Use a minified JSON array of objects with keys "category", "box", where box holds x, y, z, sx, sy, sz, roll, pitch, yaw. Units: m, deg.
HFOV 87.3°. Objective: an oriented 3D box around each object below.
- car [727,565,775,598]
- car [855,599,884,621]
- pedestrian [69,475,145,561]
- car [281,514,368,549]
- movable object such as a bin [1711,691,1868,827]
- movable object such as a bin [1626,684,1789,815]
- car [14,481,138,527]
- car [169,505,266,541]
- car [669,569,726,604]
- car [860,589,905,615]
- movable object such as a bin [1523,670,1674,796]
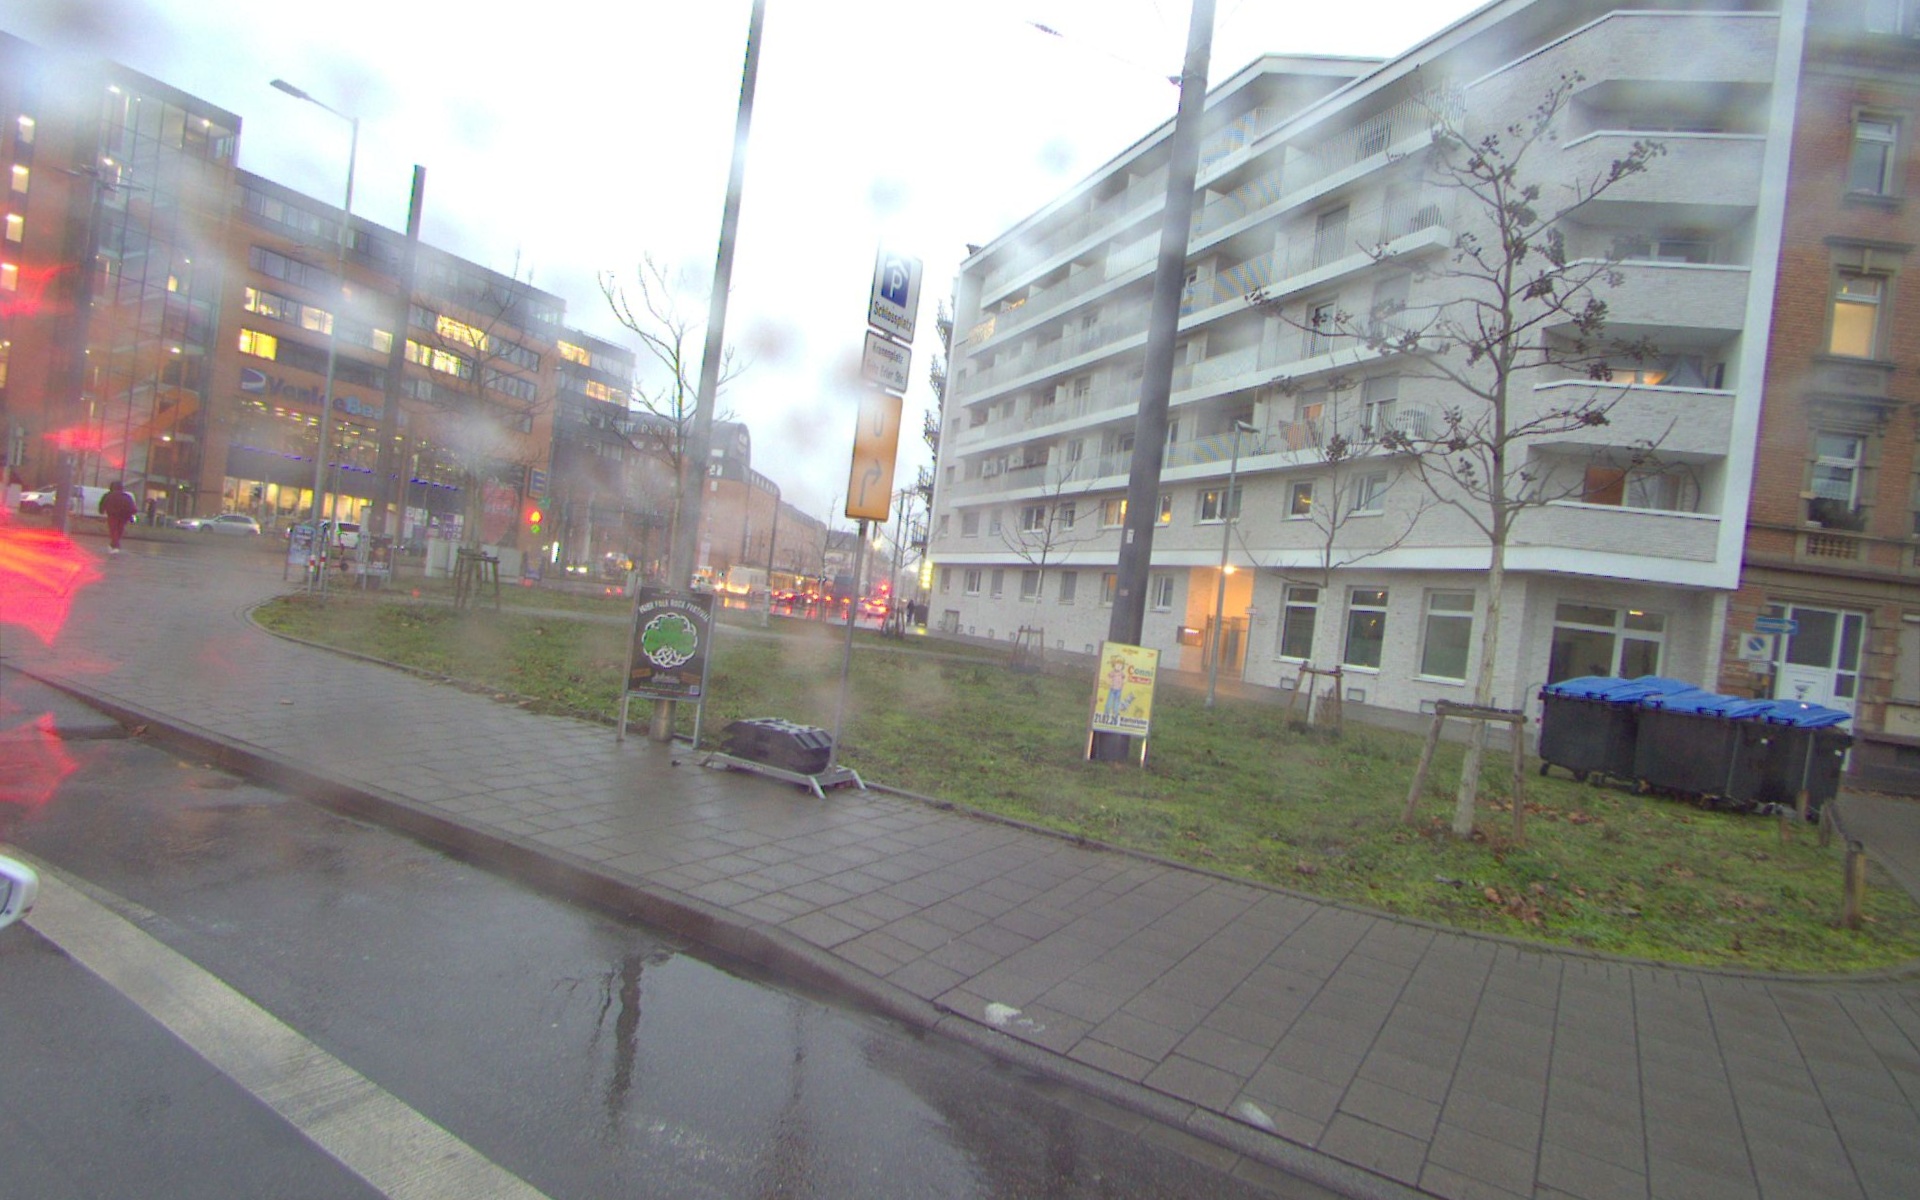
[{"category":"car","box":[-17.469,-1.503,84.296,1.962,2.036,4.957,8,-2,11]},{"category":"car","box":[-8.575,0.981,95.747,1.662,1.636,3.470,8,-2,10]},{"category":"pedestrian","box":[-21.653,-2.057,25.572,1.164,1.945,0.890,10,-2,-35]},{"category":"car","box":[-41.361,-4.427,65.550,1.767,1.553,4.444,7,-1,25]},{"category":"movable object such as a bin","box":[10.747,2.039,13.072,1.021,1.507,1.039,9,-2,-12]},{"category":"movable object such as a bin","box":[9.602,1.904,12.967,1.003,1.434,1.218,6,1,-21]},{"category":"car","box":[-46.194,-5.007,52.687,1.767,1.614,4.431,7,-1,25]},{"category":"car","box":[-43.785,-4.516,59.430,1.767,1.406,4.227,7,-1,25]},{"category":"car","box":[-19.900,-1.024,76.519,1.963,2.036,4.003,8,-2,22]},{"category":"car","box":[-6.681,0.218,87.357,1.798,1.873,4.682,6,-1,23]},{"category":"movable object such as a bin","box":[9.004,1.852,14.243,1.016,1.513,1.324,7,0,-18]}]
